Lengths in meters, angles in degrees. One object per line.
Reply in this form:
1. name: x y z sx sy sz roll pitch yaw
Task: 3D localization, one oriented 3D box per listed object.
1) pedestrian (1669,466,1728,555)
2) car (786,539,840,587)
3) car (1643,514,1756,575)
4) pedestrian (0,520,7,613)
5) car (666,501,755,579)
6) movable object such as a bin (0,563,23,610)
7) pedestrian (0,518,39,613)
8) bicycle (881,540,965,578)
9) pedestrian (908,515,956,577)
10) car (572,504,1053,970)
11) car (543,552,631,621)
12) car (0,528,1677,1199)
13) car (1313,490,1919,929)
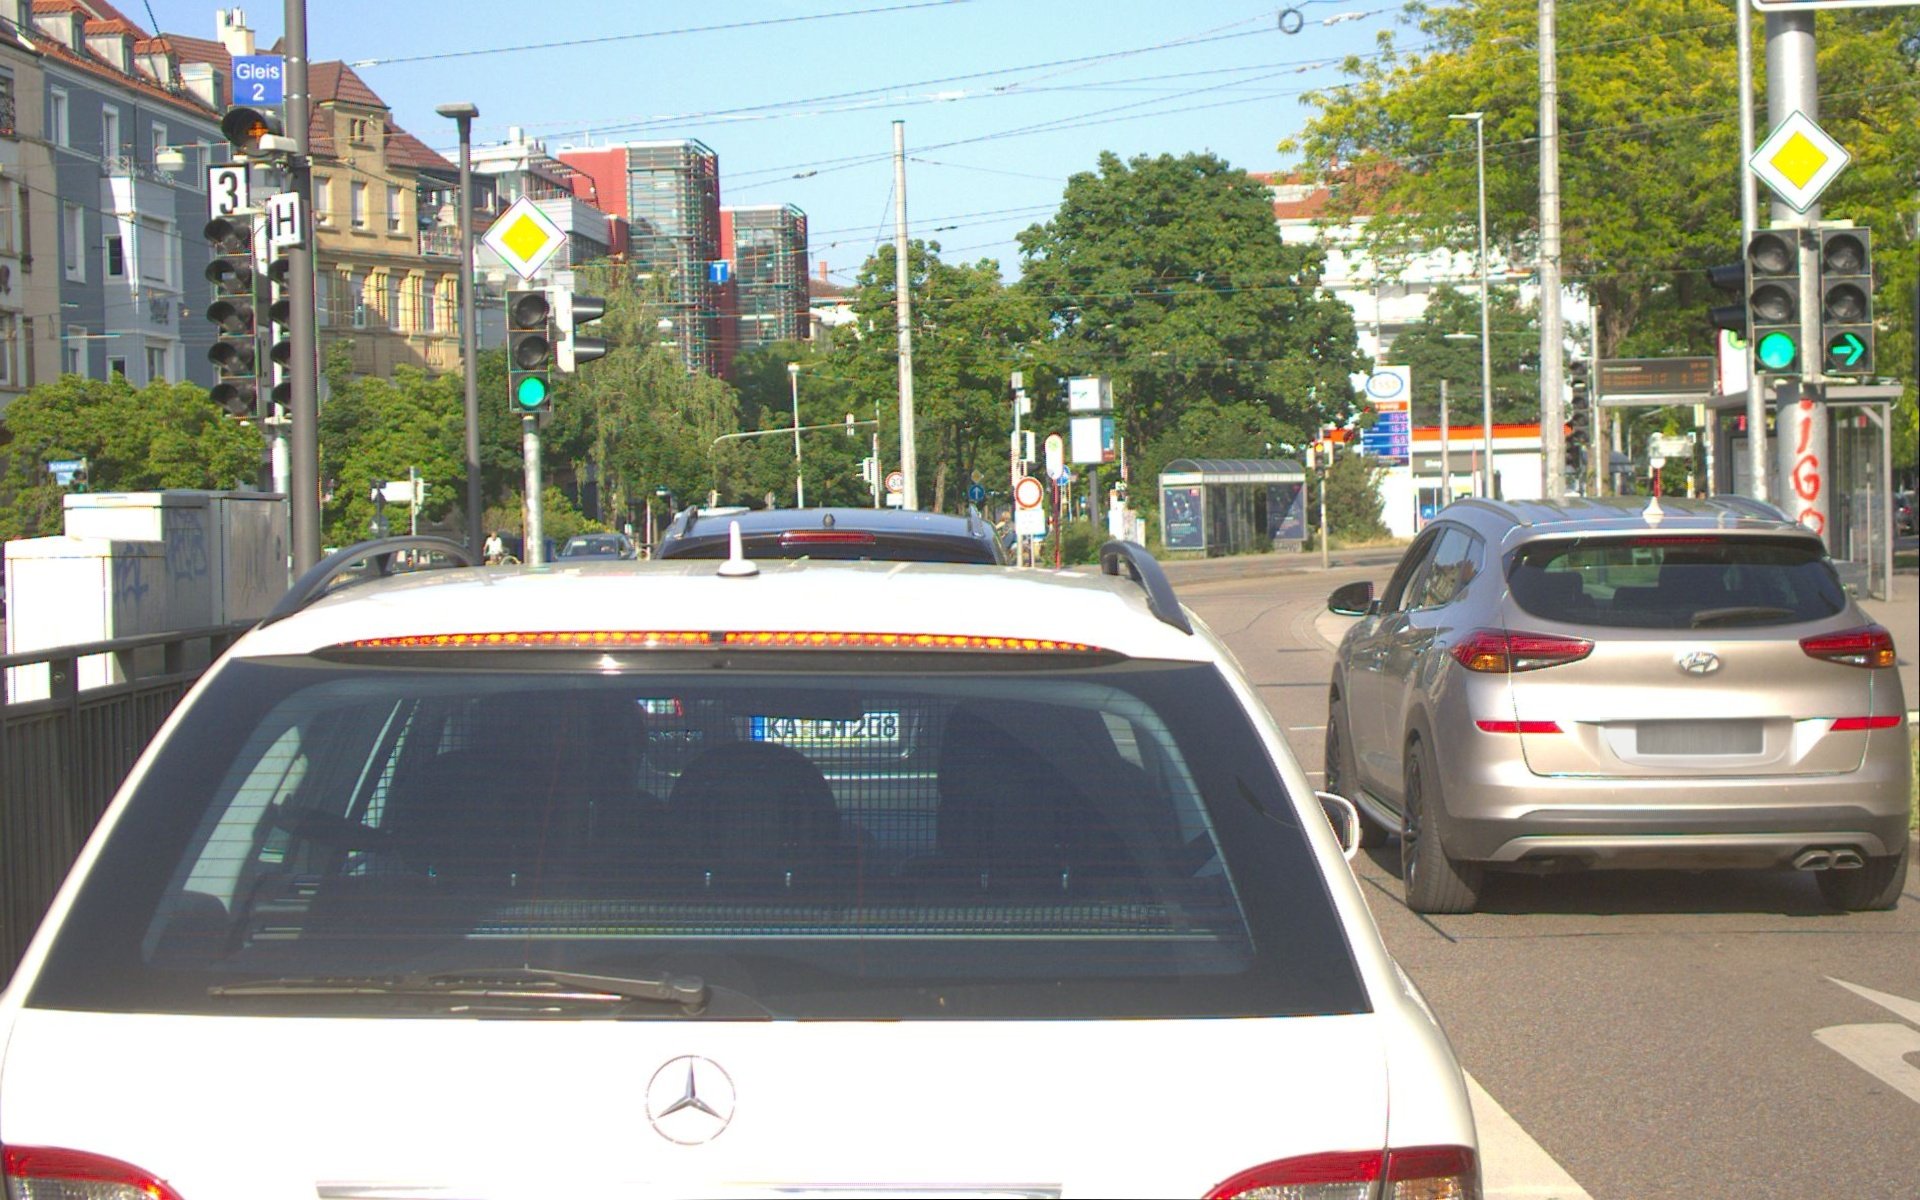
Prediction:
1. pedestrian: 16.916 -2.057 78.734 0.998 2.007 0.826 -1 2 43
2. car: -5.179 -1.323 121.632 1.767 1.489 4.745 -2 3 -1
3. car: 20.400 -1.538 94.734 1.856 1.510 3.994 -2 1 30
4. pedestrian: -19.608 -0.672 69.198 0.584 1.874 0.626 -2 1 2
5. car: -7.519 -1.842 104.101 2.177 2.231 5.253 -2 2 1
6. movable object such as a bin: -19.520 -0.274 70.168 0.583 0.943 0.663 -2 1 2
7. pedestrian: -18.960 -0.698 69.311 0.584 1.874 0.627 -2 2 -3
8. bicycle: -0.969 -1.076 90.190 2.019 0.943 0.878 -1 1 19
9. pedestrian: -0.733 -1.412 90.107 1.007 1.586 0.865 -1 1 19
10. car: -0.527 0.427 13.662 1.641 1.594 3.815 0 1 -1
11. car: -9.335 -0.356 86.220 1.676 1.520 4.125 -2 2 0
12. car: -0.275 0.644 5.106 1.835 1.496 3.815 0 1 -1
13. car: 2.614 0.356 14.397 1.835 1.594 3.815 0 1 -1
